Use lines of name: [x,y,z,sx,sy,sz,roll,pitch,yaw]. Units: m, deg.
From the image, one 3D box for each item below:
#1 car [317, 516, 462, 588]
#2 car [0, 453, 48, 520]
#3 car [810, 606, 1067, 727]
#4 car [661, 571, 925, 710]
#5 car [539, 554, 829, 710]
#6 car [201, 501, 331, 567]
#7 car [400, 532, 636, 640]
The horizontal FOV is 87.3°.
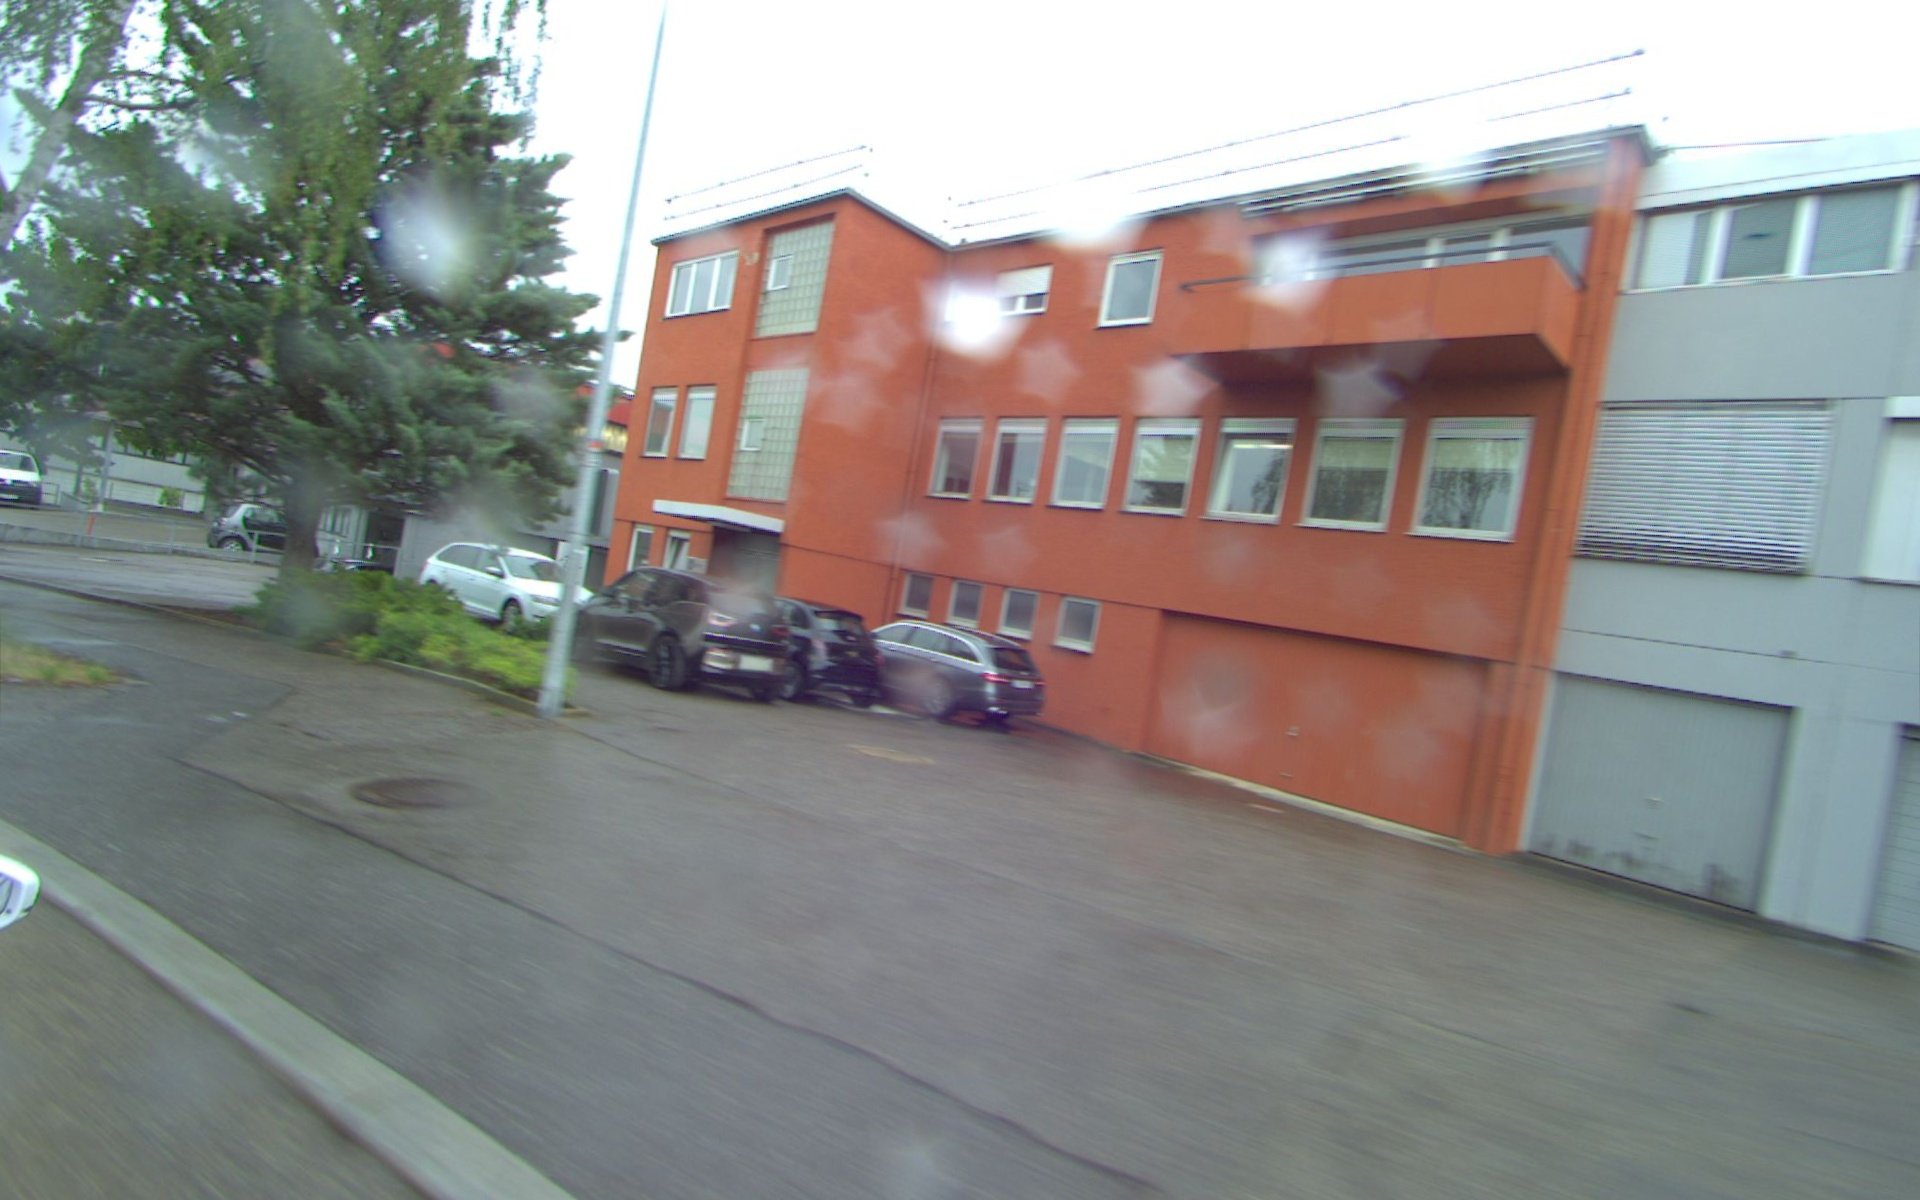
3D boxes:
car: [-15.869,-1.317,28.056,1.606,1.513,3.033,7,-1,39]
car: [-33.778,-4.058,35.045,4.865,2.037,2.056,6,-1,38]
car: [-0.501,1.140,18.140,4.454,1.465,1.967,6,-4,45]
car: [-2.895,0.611,16.691,1.985,1.698,4.455,9,-2,-44]
car: [-4.120,0.391,14.539,1.992,1.596,4.456,11,-3,-44]
car: [-20.030,-1.885,29.076,1.655,1.464,2.708,6,-1,42]
car: [-8.413,-0.274,19.067,4.257,1.488,1.906,7,0,32]
